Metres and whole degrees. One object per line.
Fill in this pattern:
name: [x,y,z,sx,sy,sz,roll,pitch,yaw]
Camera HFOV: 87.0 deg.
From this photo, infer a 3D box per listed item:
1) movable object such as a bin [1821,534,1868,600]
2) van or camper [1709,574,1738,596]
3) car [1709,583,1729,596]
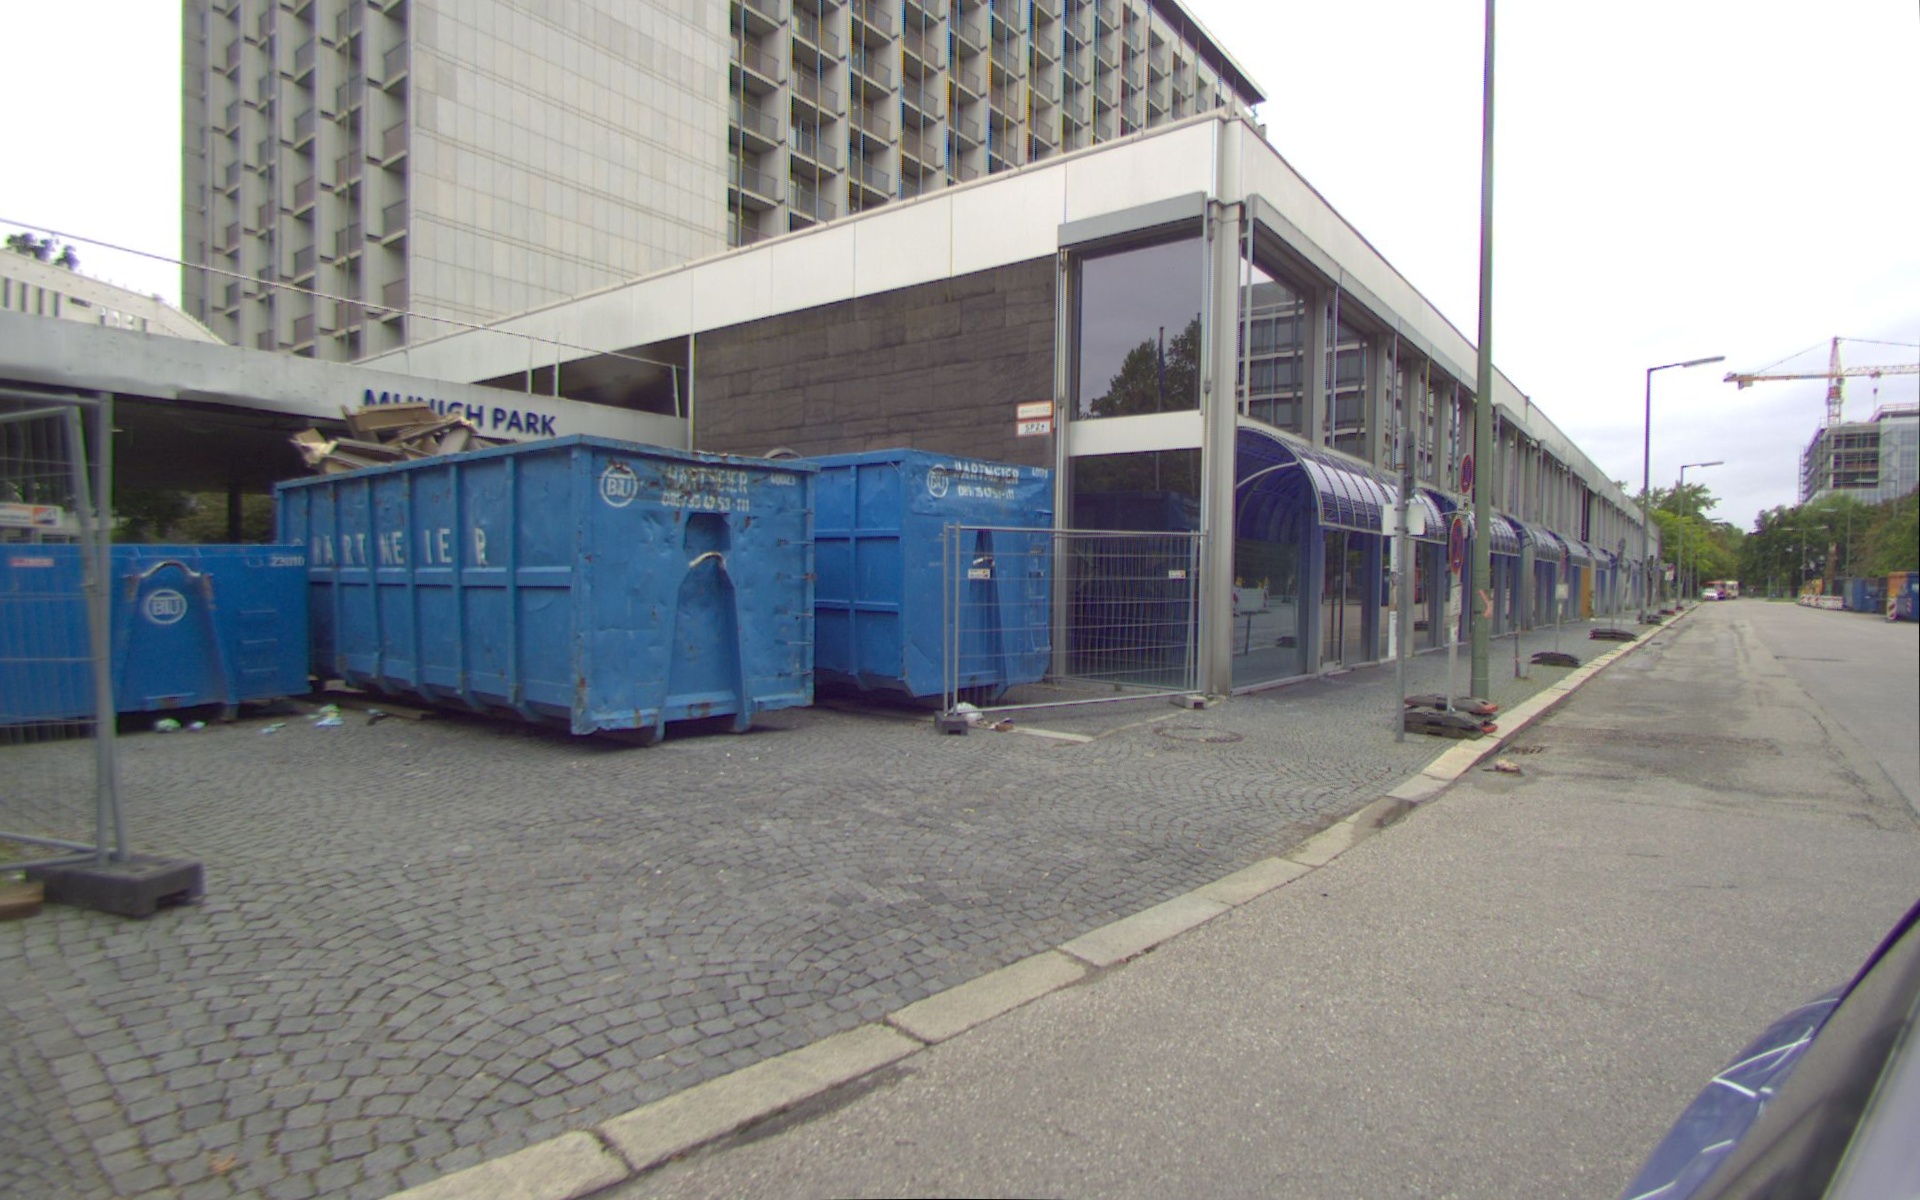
movable object such as a bin: [89.606,-3.305,102.590,3.230,6.401,8.216,2,1,40]
van or camper: [101.165,-2.011,134.079,2.658,2.801,6.813,2,2,41]
car: [97.104,-1.358,129.401,1.905,1.657,3.943,2,2,39]
